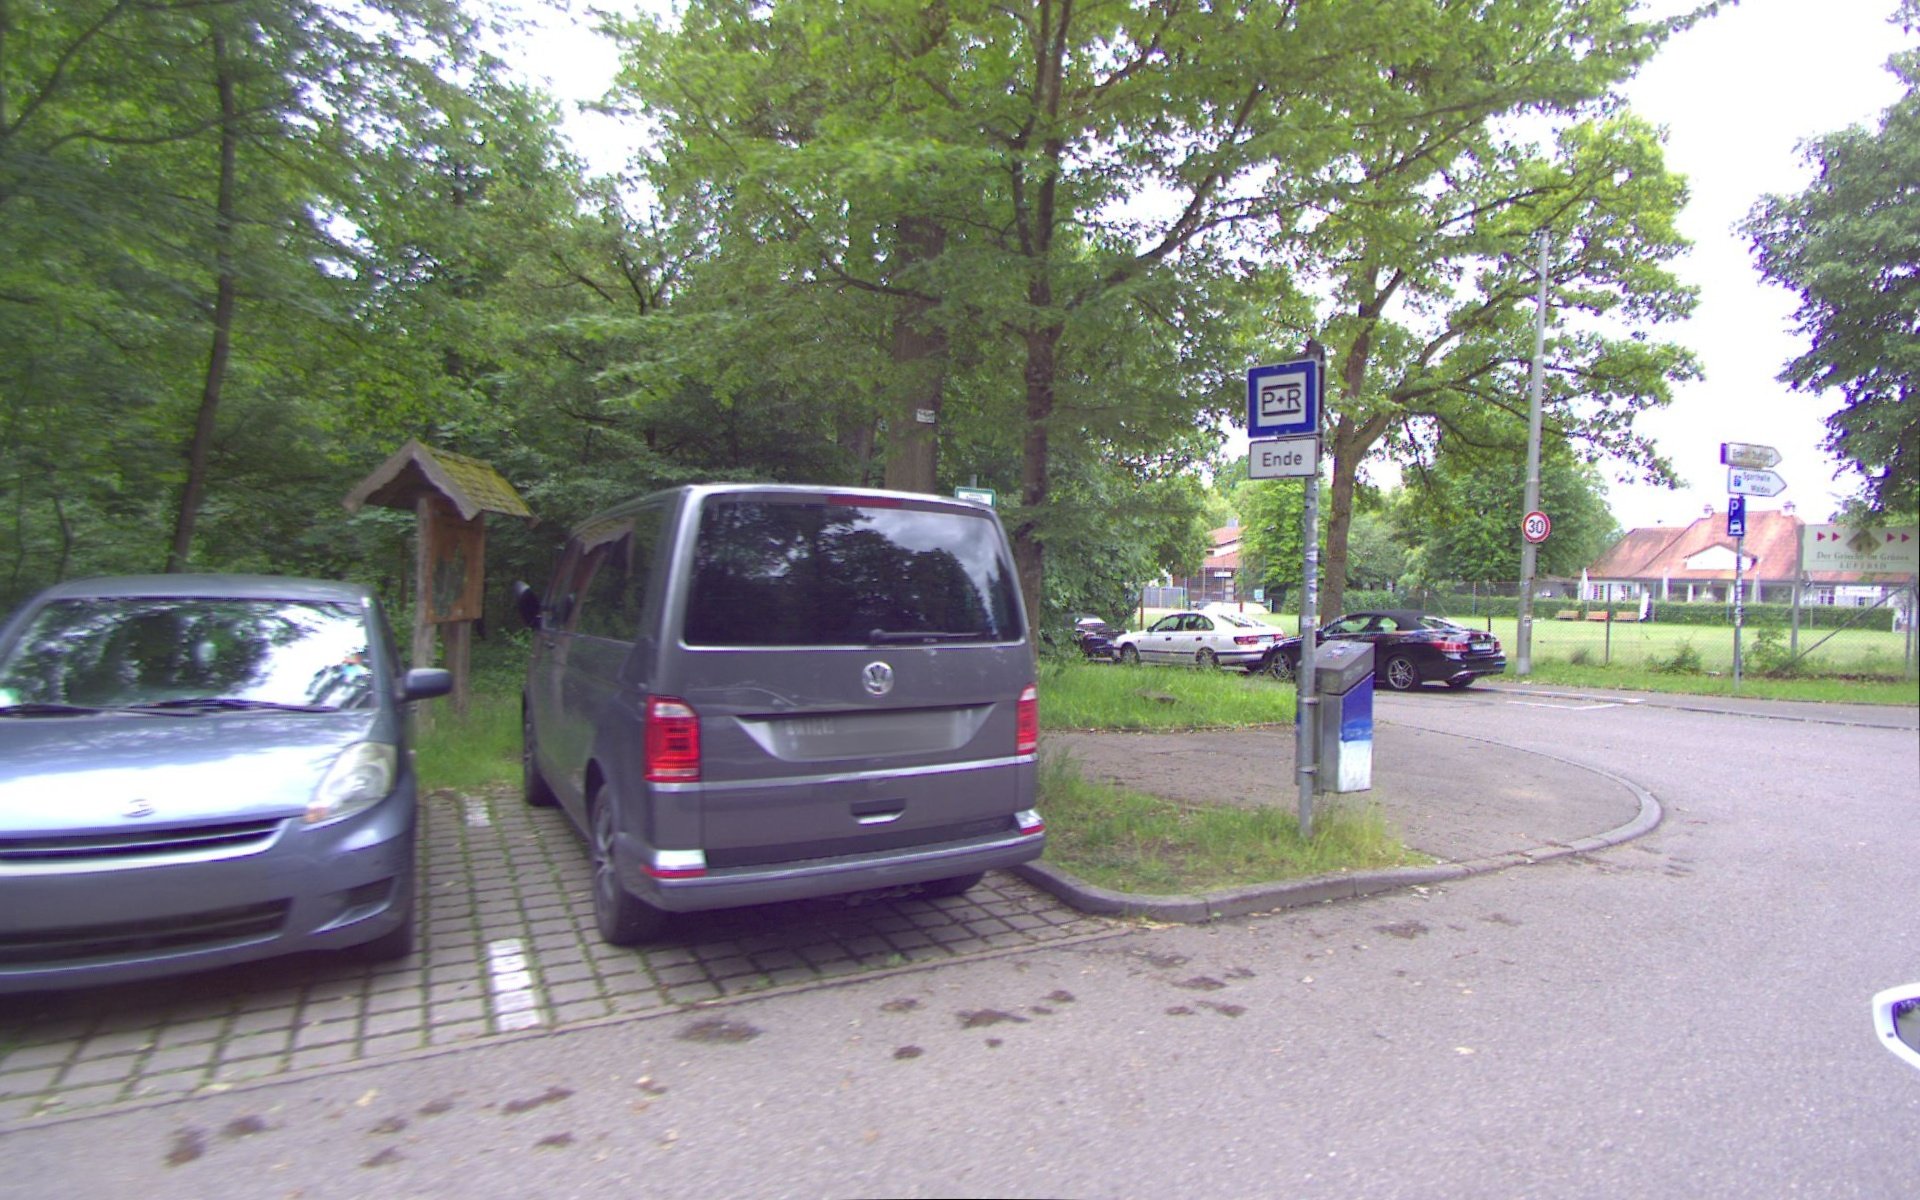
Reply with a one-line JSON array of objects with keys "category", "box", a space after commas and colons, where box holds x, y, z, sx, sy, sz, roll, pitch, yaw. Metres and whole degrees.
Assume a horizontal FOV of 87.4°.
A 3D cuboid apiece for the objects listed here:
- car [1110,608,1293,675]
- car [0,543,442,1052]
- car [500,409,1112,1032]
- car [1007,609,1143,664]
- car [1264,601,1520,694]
[{"category": "car", "box": [5.497, 0.909, 23.343, 1.673, 1.377, 4.183, -1, 0, -32]}, {"category": "car", "box": [-3.542, 0.588, 4.830, 1.787, 1.533, 3.798, 0, 0, -29]}, {"category": "car", "box": [-1.313, 0.379, 5.654, 1.869, 2.004, 4.480, 2, 0, -30]}, {"category": "car", "box": [3.054, 0.949, 27.348, 1.673, 1.377, 3.834, -1, 0, -32]}, {"category": "car", "box": [7.975, 0.816, 18.969, 1.750, 1.514, 4.294, -1, 0, -29]}]
